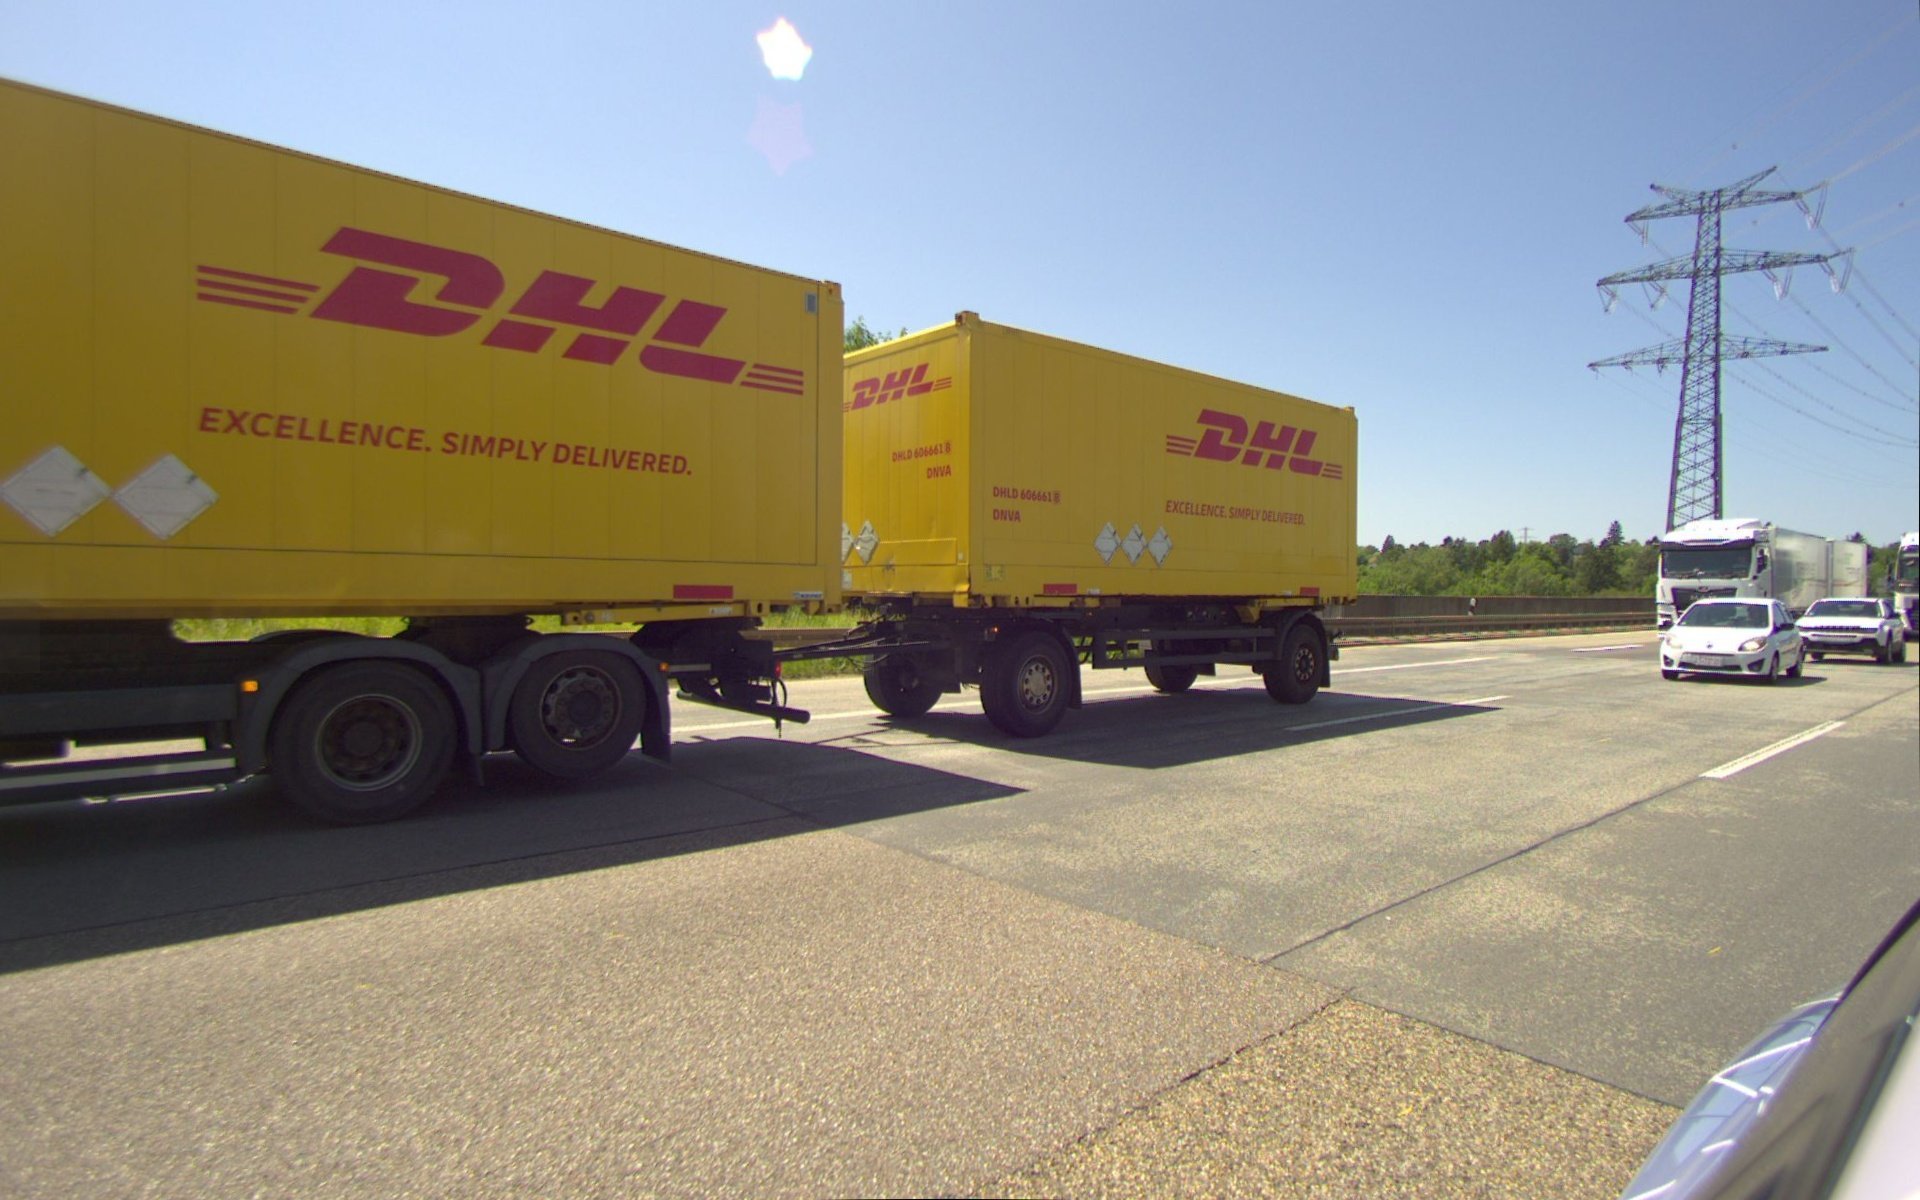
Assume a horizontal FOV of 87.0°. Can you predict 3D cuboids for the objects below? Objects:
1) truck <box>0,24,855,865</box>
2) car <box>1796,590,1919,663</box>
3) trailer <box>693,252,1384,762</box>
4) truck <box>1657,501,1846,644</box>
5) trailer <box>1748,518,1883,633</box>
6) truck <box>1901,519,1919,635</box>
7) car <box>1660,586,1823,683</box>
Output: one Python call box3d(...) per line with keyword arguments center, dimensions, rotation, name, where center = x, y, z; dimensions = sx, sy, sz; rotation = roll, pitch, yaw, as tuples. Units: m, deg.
box3d(center=(-5.455, -0.777, 6.222), dimensions=(9.778, 4.161, 2.770), rotation=(0, 0, -41), name="truck")
box3d(center=(21.305, 0.556, 23.873), dimensions=(3.783, 1.549, 1.775), rotation=(-1, 1, -40), name="car")
box3d(center=(1.634, -0.764, 12.358), dimensions=(9.212, 4.170, 2.770), rotation=(0, 0, -41), name="trailer")
box3d(center=(25.831, -0.813, 32.713), dimensions=(11.099, 3.980, 2.693), rotation=(-1, 0, -41), name="truck")
box3d(center=(32.920, -0.889, 38.833), dimensions=(7.637, 3.990, 2.750), rotation=(-1, 0, -41), name="trailer")
box3d(center=(39.543, -0.836, 39.275), dimensions=(14.002, 4.090, 2.716), rotation=(0, 0, -40), name="truck")
box3d(center=(14.239, 0.543, 18.376), dimensions=(3.760, 1.529, 1.658), rotation=(-1, 1, -41), name="car")
